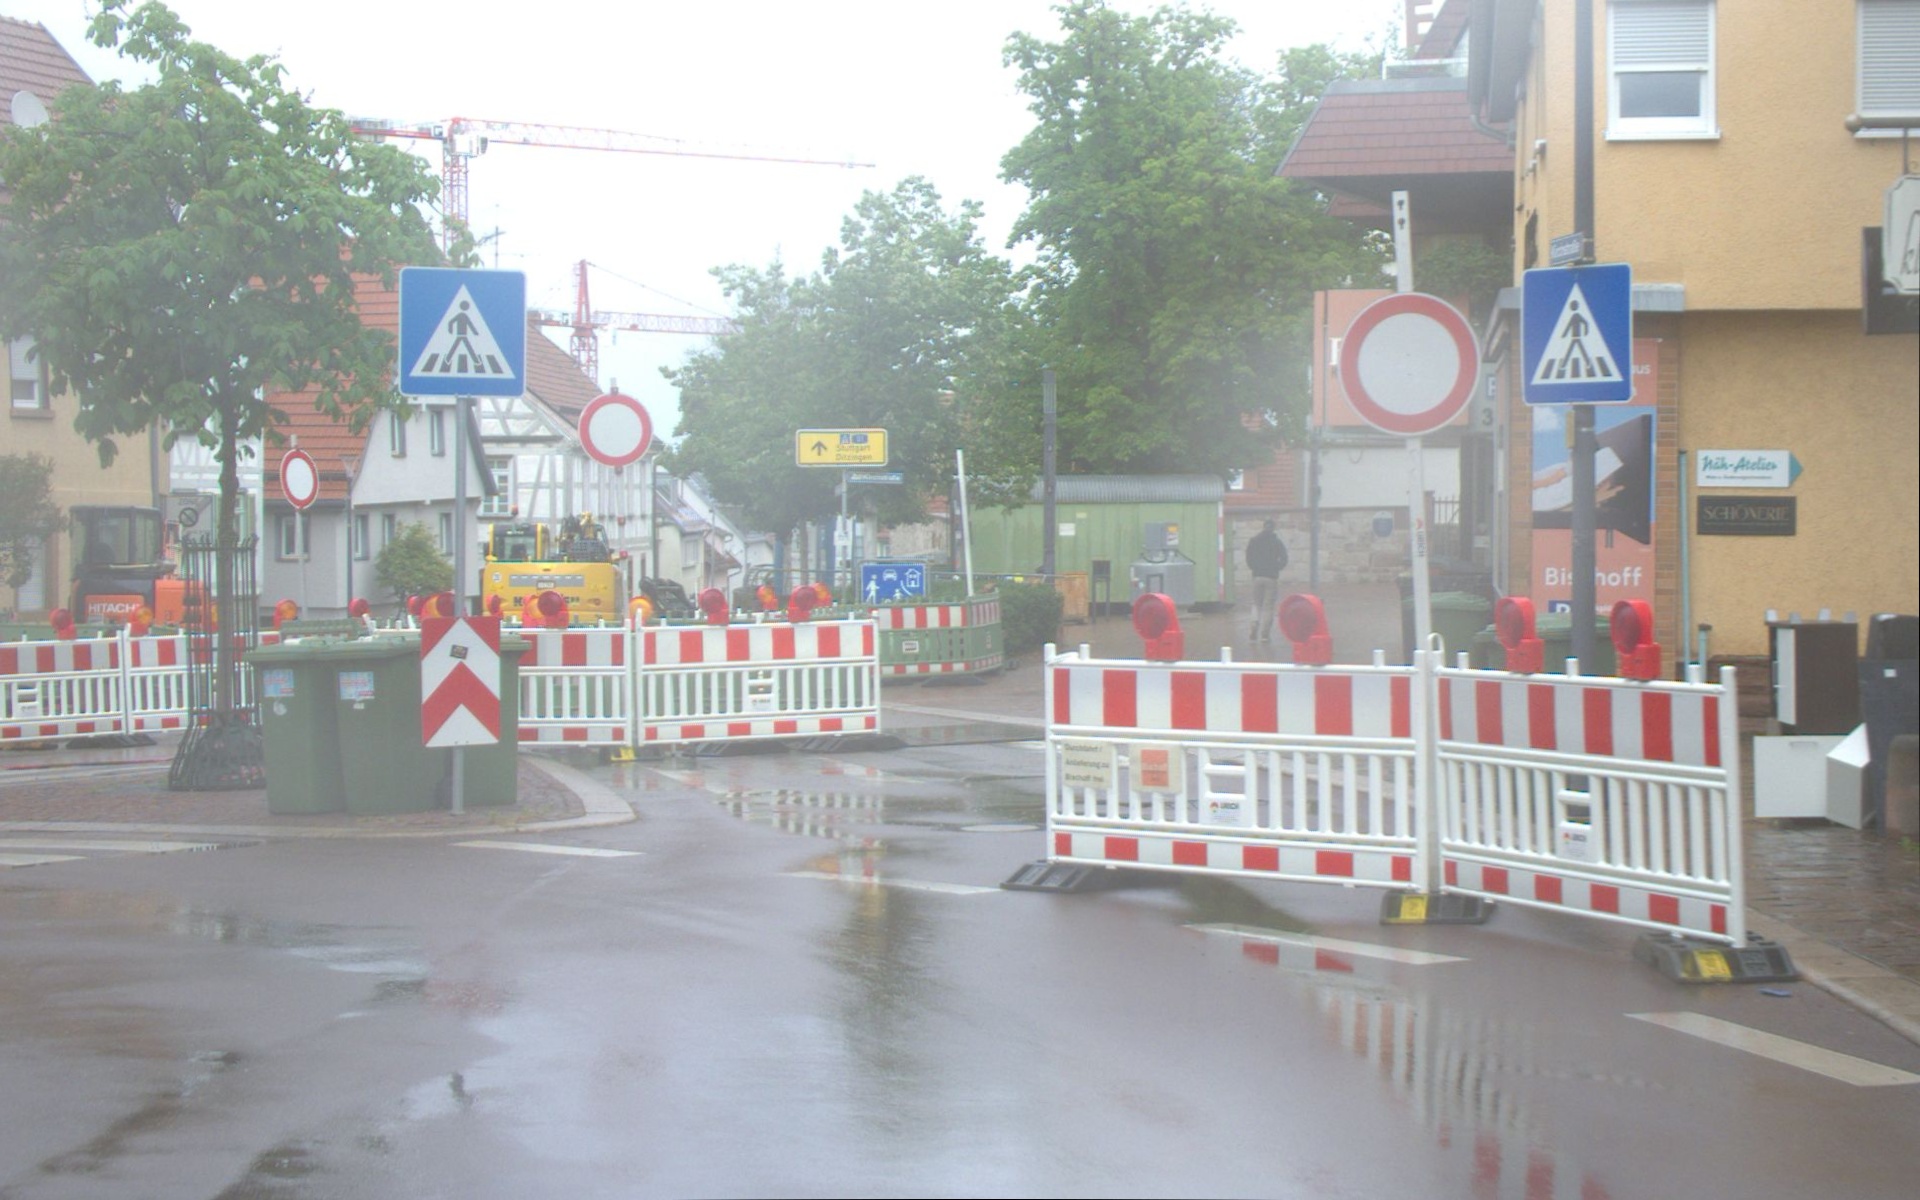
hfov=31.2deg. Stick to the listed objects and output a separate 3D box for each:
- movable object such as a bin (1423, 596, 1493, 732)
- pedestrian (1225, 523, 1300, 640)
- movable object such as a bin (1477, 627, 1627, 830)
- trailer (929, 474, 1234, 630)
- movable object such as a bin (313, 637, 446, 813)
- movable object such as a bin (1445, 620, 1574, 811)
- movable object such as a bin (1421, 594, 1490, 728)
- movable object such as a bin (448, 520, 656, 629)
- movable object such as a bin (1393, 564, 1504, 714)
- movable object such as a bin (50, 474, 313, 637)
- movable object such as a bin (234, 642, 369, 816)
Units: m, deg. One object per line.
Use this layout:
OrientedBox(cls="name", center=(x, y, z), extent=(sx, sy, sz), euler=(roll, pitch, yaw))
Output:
OrientedBox(cls="movable object such as a bin", center=(4.316, 0.551, 29.795), extent=(0.517, 1.128, 0.580), euler=(-3, 1, 6))
OrientedBox(cls="pedestrian", center=(4.576, -0.278, 52.080), extent=(0.990, 1.753, 0.852), euler=(1, 0, -4))
OrientedBox(cls="movable object such as a bin", center=(3.243, 0.696, 18.862), extent=(0.678, 1.062, 0.540), euler=(-1, 2, -4))
OrientedBox(cls="trailer", center=(2.338, -0.925, 67.291), extent=(5.780, 2.937, 2.000), euler=(1, 0, -3))
OrientedBox(cls="movable object such as a bin", center=(-3.457, 0.743, 20.485), extent=(0.544, 1.029, 0.533), euler=(-2, -2, 35))
OrientedBox(cls="movable object such as a bin", center=(3.141, 0.656, 19.643), extent=(0.616, 1.062, 0.539), euler=(-2, -1, 19))
OrientedBox(cls="movable object such as a bin", center=(4.380, 0.534, 30.401), extent=(0.516, 1.125, 0.580), euler=(-3, 2, 6))
OrientedBox(cls="movable object such as a bin", center=(-7.794, -0.480, 66.078), extent=(3.402, 2.007, 3.478), euler=(1, 0, 3))
OrientedBox(cls="movable object such as a bin", center=(5.197, 0.407, 36.508), extent=(1.065, 1.507, 1.242), euler=(-3, 1, 10))
OrientedBox(cls="movable object such as a bin", center=(-10.258, -0.559, 45.590), extent=(1.906, 2.007, 3.998), euler=(-2, 0, 11))
OrientedBox(cls="movable object such as a bin", center=(-3.993, 0.776, 20.848), extent=(0.541, 1.033, 0.571), euler=(-2, -2, 35))
